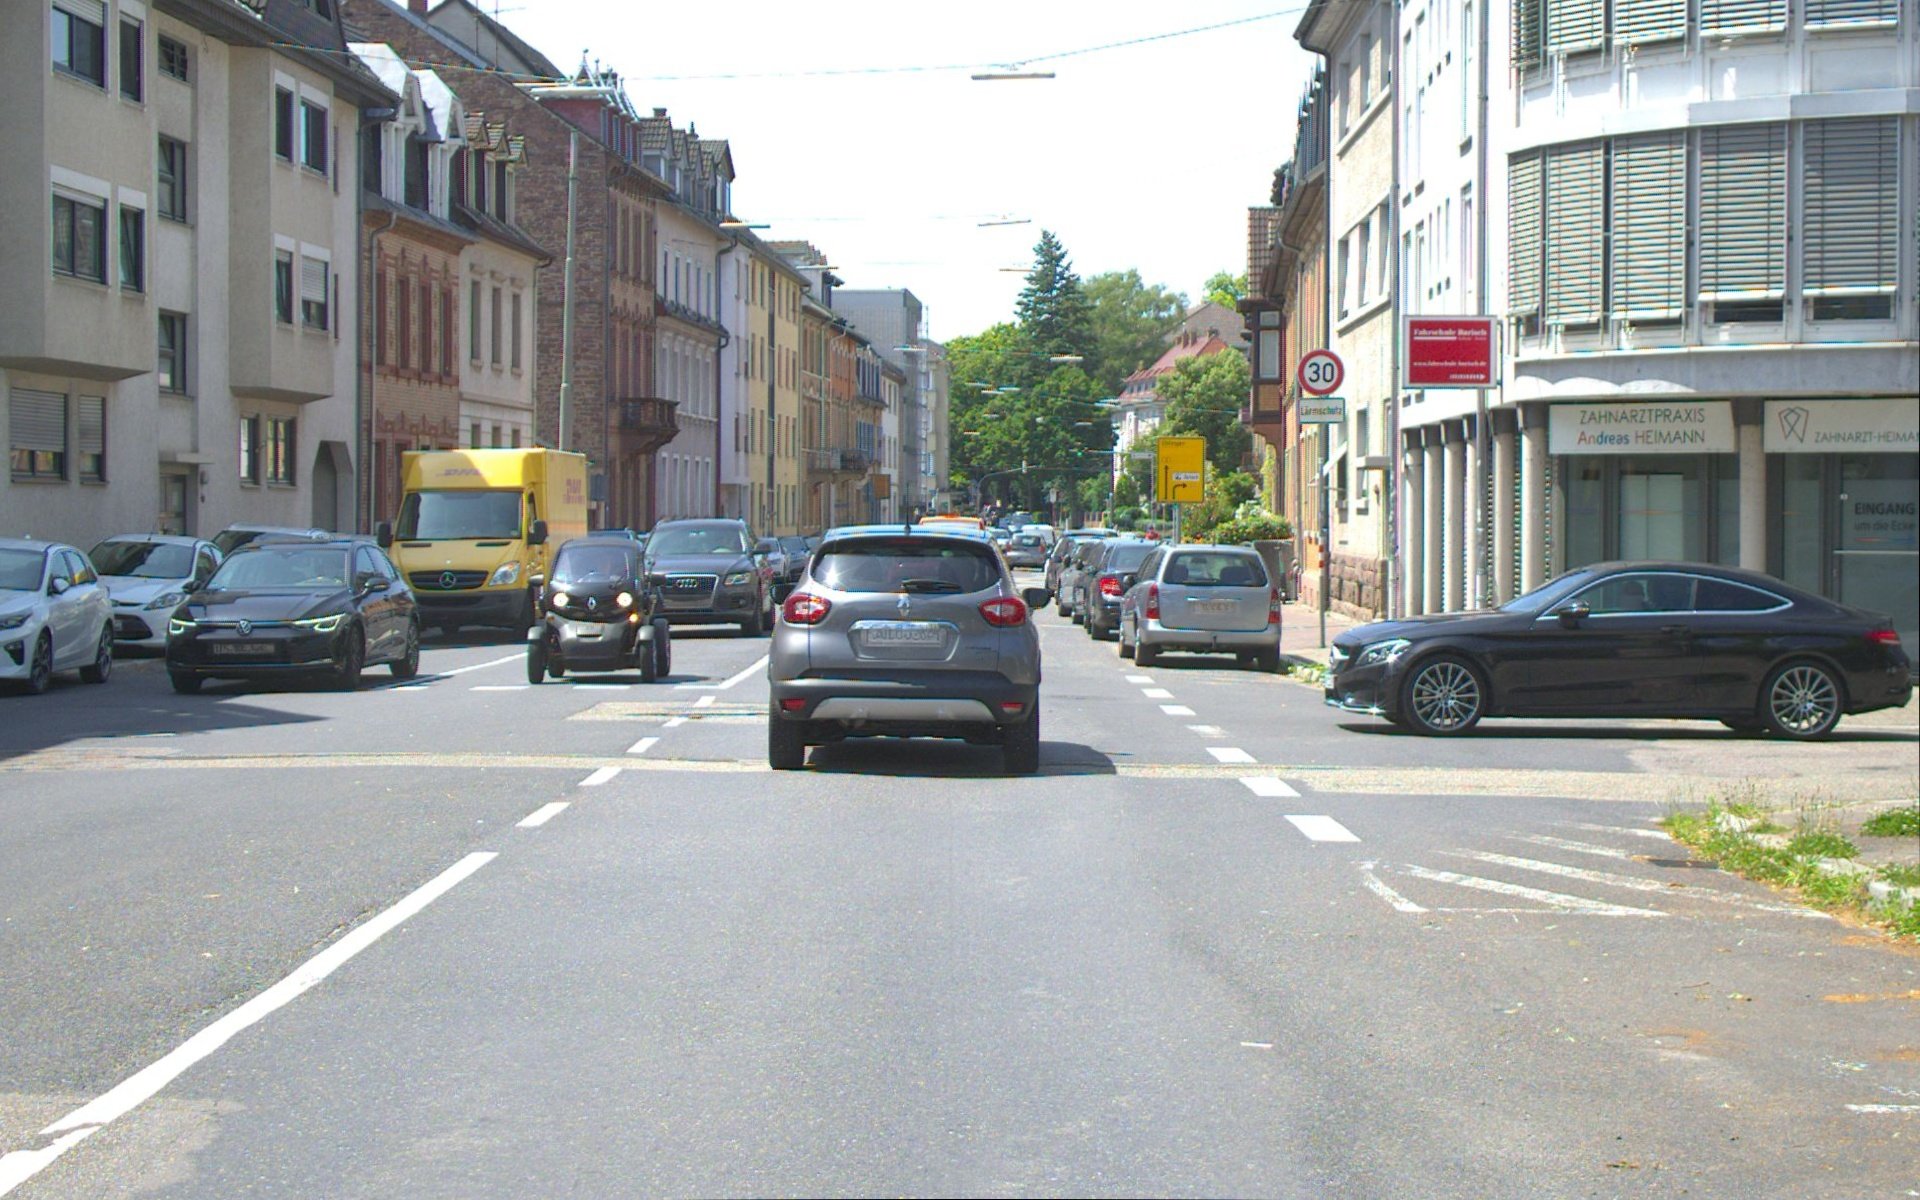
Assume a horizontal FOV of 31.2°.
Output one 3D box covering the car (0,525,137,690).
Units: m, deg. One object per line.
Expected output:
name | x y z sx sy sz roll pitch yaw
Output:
car | -9.608 0.013 34.091 1.839 1.484 4.387 3 1 -1

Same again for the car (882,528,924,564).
car | -2.655 -2.543 161.544 1.904 1.614 4.303 -2 1 -1

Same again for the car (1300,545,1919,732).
car | 5.172 0.288 27.783 4.580 1.360 2.000 1 1 -2

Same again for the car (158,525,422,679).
car | -6.531 -0.023 33.935 1.742 1.414 4.223 -1 1 0

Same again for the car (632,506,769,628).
car | -3.625 -0.488 48.619 1.812 1.615 4.442 -1 1 -3

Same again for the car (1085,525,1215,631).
car | 2.720 -0.350 50.029 1.711 1.468 4.438 0 1 1

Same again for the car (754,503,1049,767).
car | -0.479 0.163 23.321 1.743 1.611 4.001 1 2 -4

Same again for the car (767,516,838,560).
car | -5.328 -2.102 116.844 1.840 1.417 4.557 -2 1 4

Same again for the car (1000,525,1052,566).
car | 2.578 -2.138 133.380 1.764 1.554 3.942 0 1 4

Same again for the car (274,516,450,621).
car | -9.256 -0.501 53.519 1.840 1.483 4.386 3 1 1

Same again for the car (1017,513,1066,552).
car | 3.356 -2.766 140.985 1.764 1.554 3.942 0 1 4

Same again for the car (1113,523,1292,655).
car | 2.844 -0.169 41.117 1.677 1.449 4.143 2 1 -2

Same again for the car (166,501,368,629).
car | -9.470 -0.495 47.279 1.839 1.590 4.387 3 1 0

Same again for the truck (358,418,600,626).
truck | -6.869 -1.122 50.083 2.225 2.761 7.564 -1 1 2

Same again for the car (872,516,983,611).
car | -0.541 -0.674 61.531 1.812 1.615 4.441 -1 1 1

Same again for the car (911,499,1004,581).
car | -0.031 -1.527 86.775 1.994 2.007 4.466 0 1 4

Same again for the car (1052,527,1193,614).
car | 2.851 -0.542 61.206 1.853 1.458 4.551 1 1 -5

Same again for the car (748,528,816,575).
car | -5.726 -1.569 111.081 1.840 1.417 4.646 -2 1 1

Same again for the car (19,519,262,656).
car | -9.832 -0.174 41.571 1.839 1.484 4.387 3 1 0

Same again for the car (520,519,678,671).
car | -3.567 -0.076 34.283 1.496 1.454 2.723 0 1 -5

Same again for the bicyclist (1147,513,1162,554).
bicyclist | 6.906 -2.367 121.917 0.532 1.464 0.791 0 1 3

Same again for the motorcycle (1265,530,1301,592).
motorcycle | 6.385 -0.771 68.003 0.596 1.220 1.361 0 1 2
